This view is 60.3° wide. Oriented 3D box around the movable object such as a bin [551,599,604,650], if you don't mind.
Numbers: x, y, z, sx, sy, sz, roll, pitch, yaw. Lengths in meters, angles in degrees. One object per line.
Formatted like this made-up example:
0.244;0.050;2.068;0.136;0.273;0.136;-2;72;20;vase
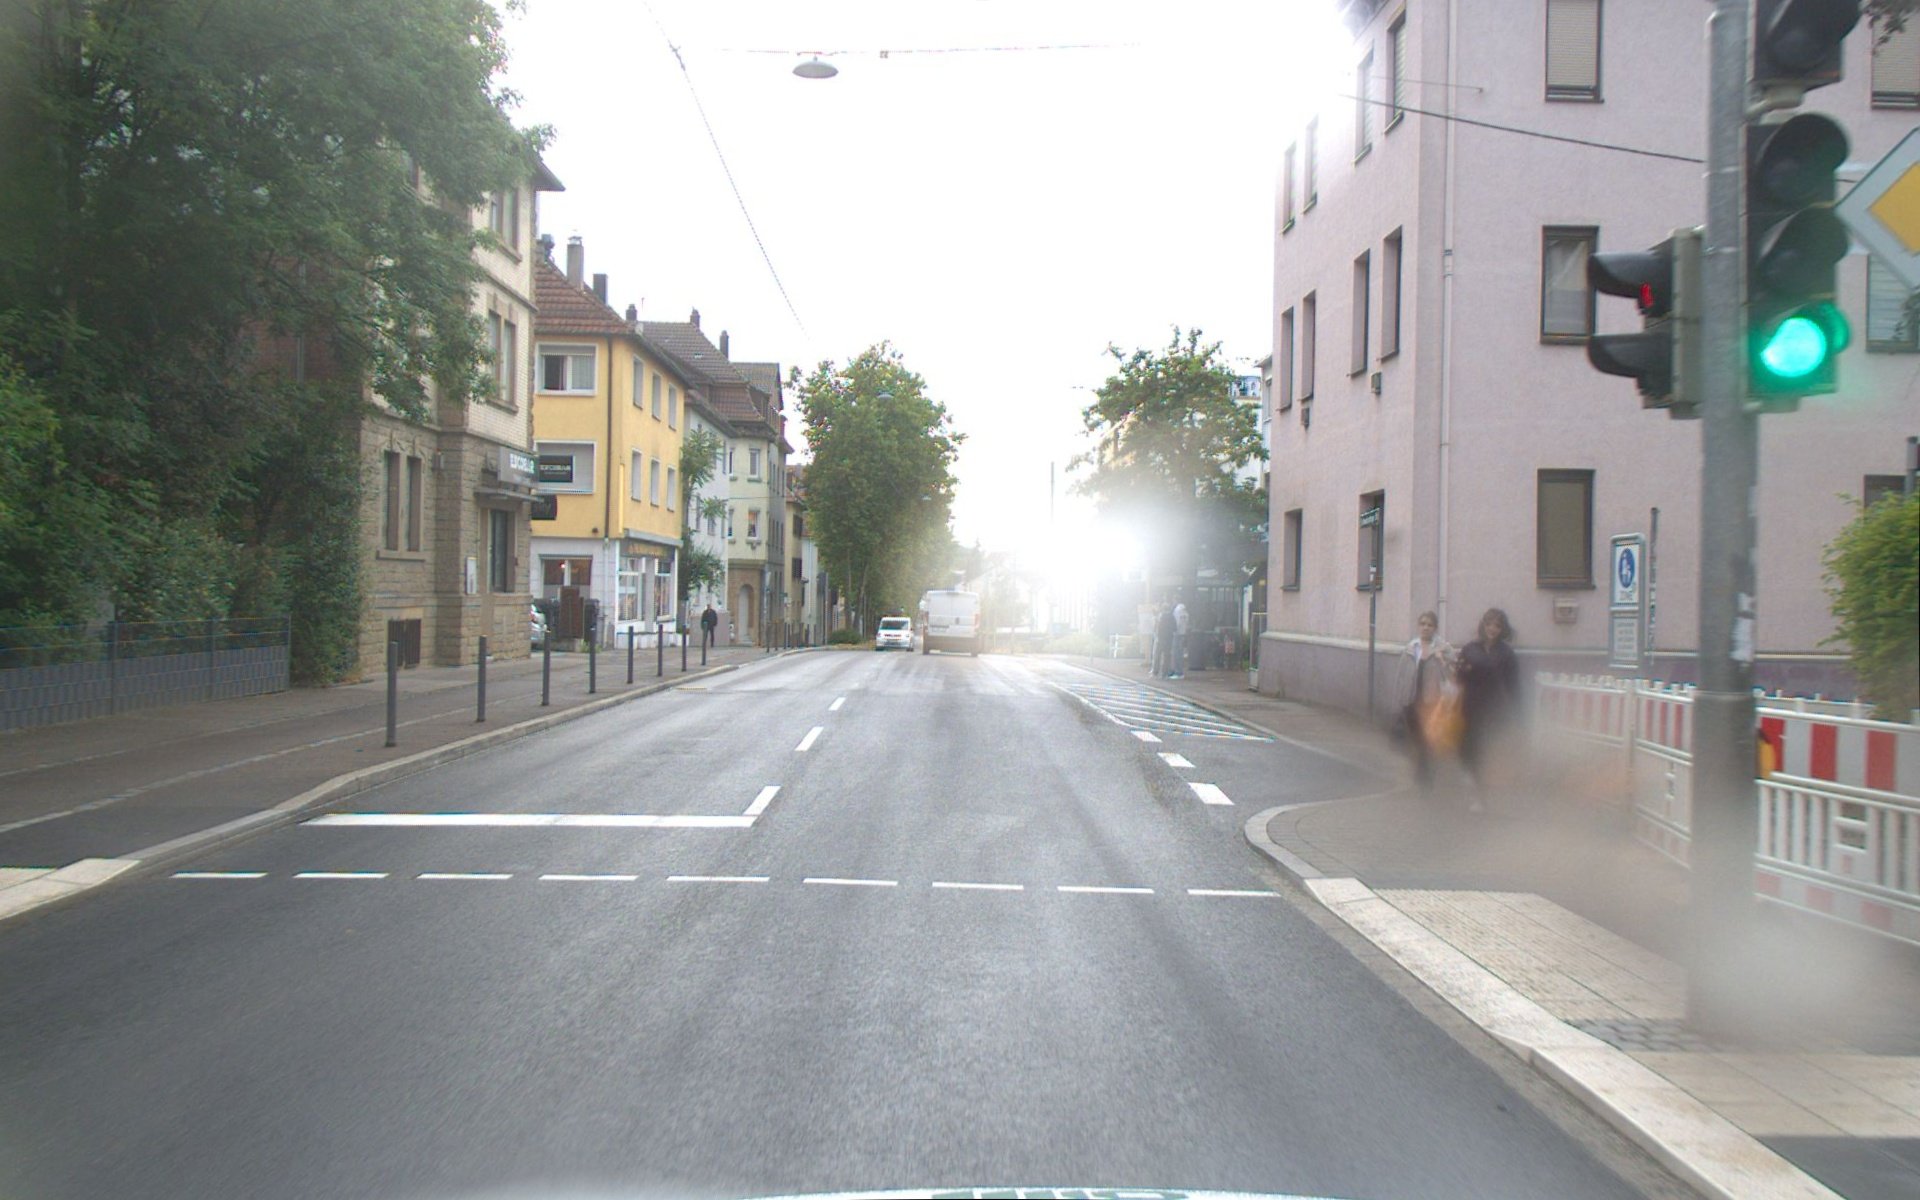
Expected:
-11.048;0.705;47.833;1.275;1.426;0.983;2;-1;-1;movable object such as a bin

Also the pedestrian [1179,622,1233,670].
6.805;1.271;45.776;1.329;1.296;0.740;0;-1;-6;pedestrian

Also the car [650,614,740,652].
-12.675;1.575;79.301;3.907;1.478;1.999;5;-1;-2;car

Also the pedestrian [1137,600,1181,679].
4.503;0.887;37.355;0.629;1.740;0.740;-1;-1;-34;pedestrian

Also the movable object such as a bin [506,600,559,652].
-12.344;0.747;47.783;1.221;1.465;0.983;2;-1;-1;movable object such as a bin

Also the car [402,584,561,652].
-12.354;0.476;42.884;3.494;1.512;1.946;3;-1;-2;car

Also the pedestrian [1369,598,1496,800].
4.128;0.842;14.532;0.767;1.670;1.222;2;-1;3;pedestrian

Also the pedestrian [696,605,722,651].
-9.602;1.090;63.252;0.799;1.709;0.992;2;-2;-3;pedestrian

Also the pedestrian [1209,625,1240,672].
7.058;1.291;44.190;0.647;1.220;0.740;0;-1;-6;pedestrian

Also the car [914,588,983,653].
-0.472;0.720;60.083;2.300;2.198;4.774;1;0;-3;car

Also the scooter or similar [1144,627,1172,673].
5.052;1.265;42.164;0.605;1.160;0.567;0;-1;-6;scooter or similar

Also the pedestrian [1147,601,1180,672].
5.090;0.908;41.454;0.647;1.772;0.828;0;-1;-6;pedestrian

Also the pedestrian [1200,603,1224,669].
7.180;1.019;47.143;0.633;1.864;0.742;0;-1;13;pedestrian

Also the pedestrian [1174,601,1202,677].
5.294;0.905;38.395;0.437;1.738;0.557;-2;-1;26;pedestrian

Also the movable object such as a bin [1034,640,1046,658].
4.964;3.052;102.382;0.680;1.101;0.778;-1;-2;0;movable object such as a bin

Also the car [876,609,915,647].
-3.297;1.461;85.357;1.843;1.903;4.452;1;-2;0;car

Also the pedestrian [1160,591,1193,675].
4.950;0.757;37.856;0.478;1.908;0.631;-2;-1;34;pedestrian

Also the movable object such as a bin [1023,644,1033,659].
4.197;3.177;102.207;0.606;0.953;0.686;-1;-2;0;movable object such as a bin

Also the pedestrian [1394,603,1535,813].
4.057;0.848;13.381;0.856;1.588;1.050;2;-1;6;pedestrian

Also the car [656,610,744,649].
-13.321;1.528;84.793;4.098;1.615;1.999;5;-1;-1;car
